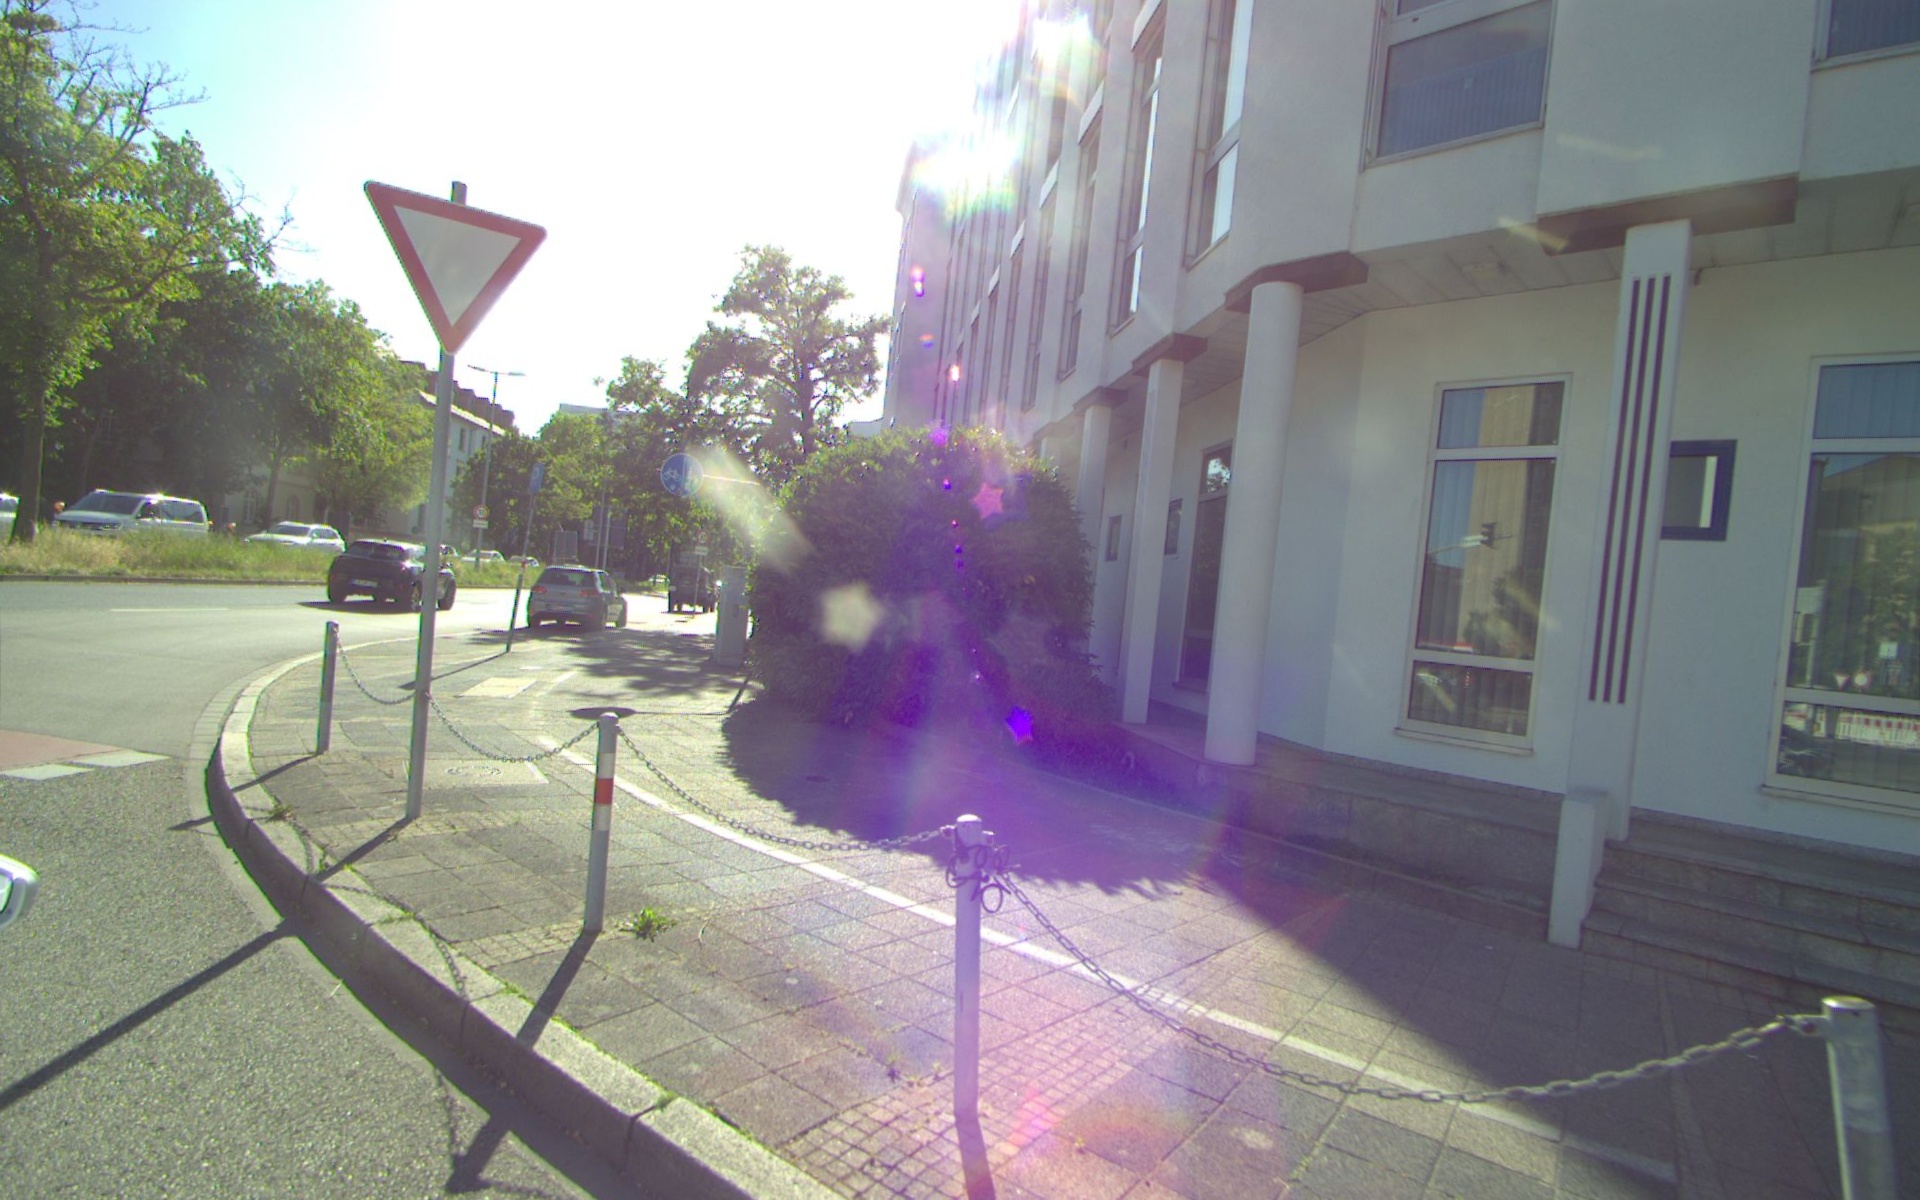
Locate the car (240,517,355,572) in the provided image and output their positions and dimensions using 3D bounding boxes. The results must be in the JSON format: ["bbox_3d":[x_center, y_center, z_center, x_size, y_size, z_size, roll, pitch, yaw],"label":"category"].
[{"bbox_3d":[-26.670,-2.165,40.727,1.770,1.764,5.025,6,-1,-8],"label":"car"}]

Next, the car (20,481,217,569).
[{"bbox_3d":[-25.581,-2.180,30.890,2.202,2.052,5.011,6,-1,-8],"label":"car"}]

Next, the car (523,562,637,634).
[{"bbox_3d":[-9.336,-0.101,25.023,1.614,1.467,4.148,6,1,-7],"label":"car"}]

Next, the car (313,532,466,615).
[{"bbox_3d":[-13.398,-0.598,23.918,1.871,1.537,3.991,8,-1,-12],"label":"car"}]

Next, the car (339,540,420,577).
[{"bbox_3d":[-27.426,-1.935,47.714,1.770,1.368,4.252,7,-1,-8],"label":"car"}]

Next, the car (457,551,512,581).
[{"bbox_3d":[-29.631,-2.083,62.820,1.770,1.537,4.252,6,-1,-8],"label":"car"}]

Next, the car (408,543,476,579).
[{"bbox_3d":[-28.026,-2.074,54.581,1.770,1.537,4.439,6,-1,-8],"label":"car"}]

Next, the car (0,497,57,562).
[{"bbox_3d":[-24.403,-1.867,24.310,1.770,1.537,4.074,7,-1,-8],"label":"car"}]

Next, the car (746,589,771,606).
[{"bbox_3d":[-15.244,-0.202,76.264,1.644,1.198,3.894,3,0,-9],"label":"car"}]

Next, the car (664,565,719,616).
[{"bbox_3d":[-12.047,-0.405,45.446,1.636,2.038,4.771,5,-1,-8],"label":"car"}]
